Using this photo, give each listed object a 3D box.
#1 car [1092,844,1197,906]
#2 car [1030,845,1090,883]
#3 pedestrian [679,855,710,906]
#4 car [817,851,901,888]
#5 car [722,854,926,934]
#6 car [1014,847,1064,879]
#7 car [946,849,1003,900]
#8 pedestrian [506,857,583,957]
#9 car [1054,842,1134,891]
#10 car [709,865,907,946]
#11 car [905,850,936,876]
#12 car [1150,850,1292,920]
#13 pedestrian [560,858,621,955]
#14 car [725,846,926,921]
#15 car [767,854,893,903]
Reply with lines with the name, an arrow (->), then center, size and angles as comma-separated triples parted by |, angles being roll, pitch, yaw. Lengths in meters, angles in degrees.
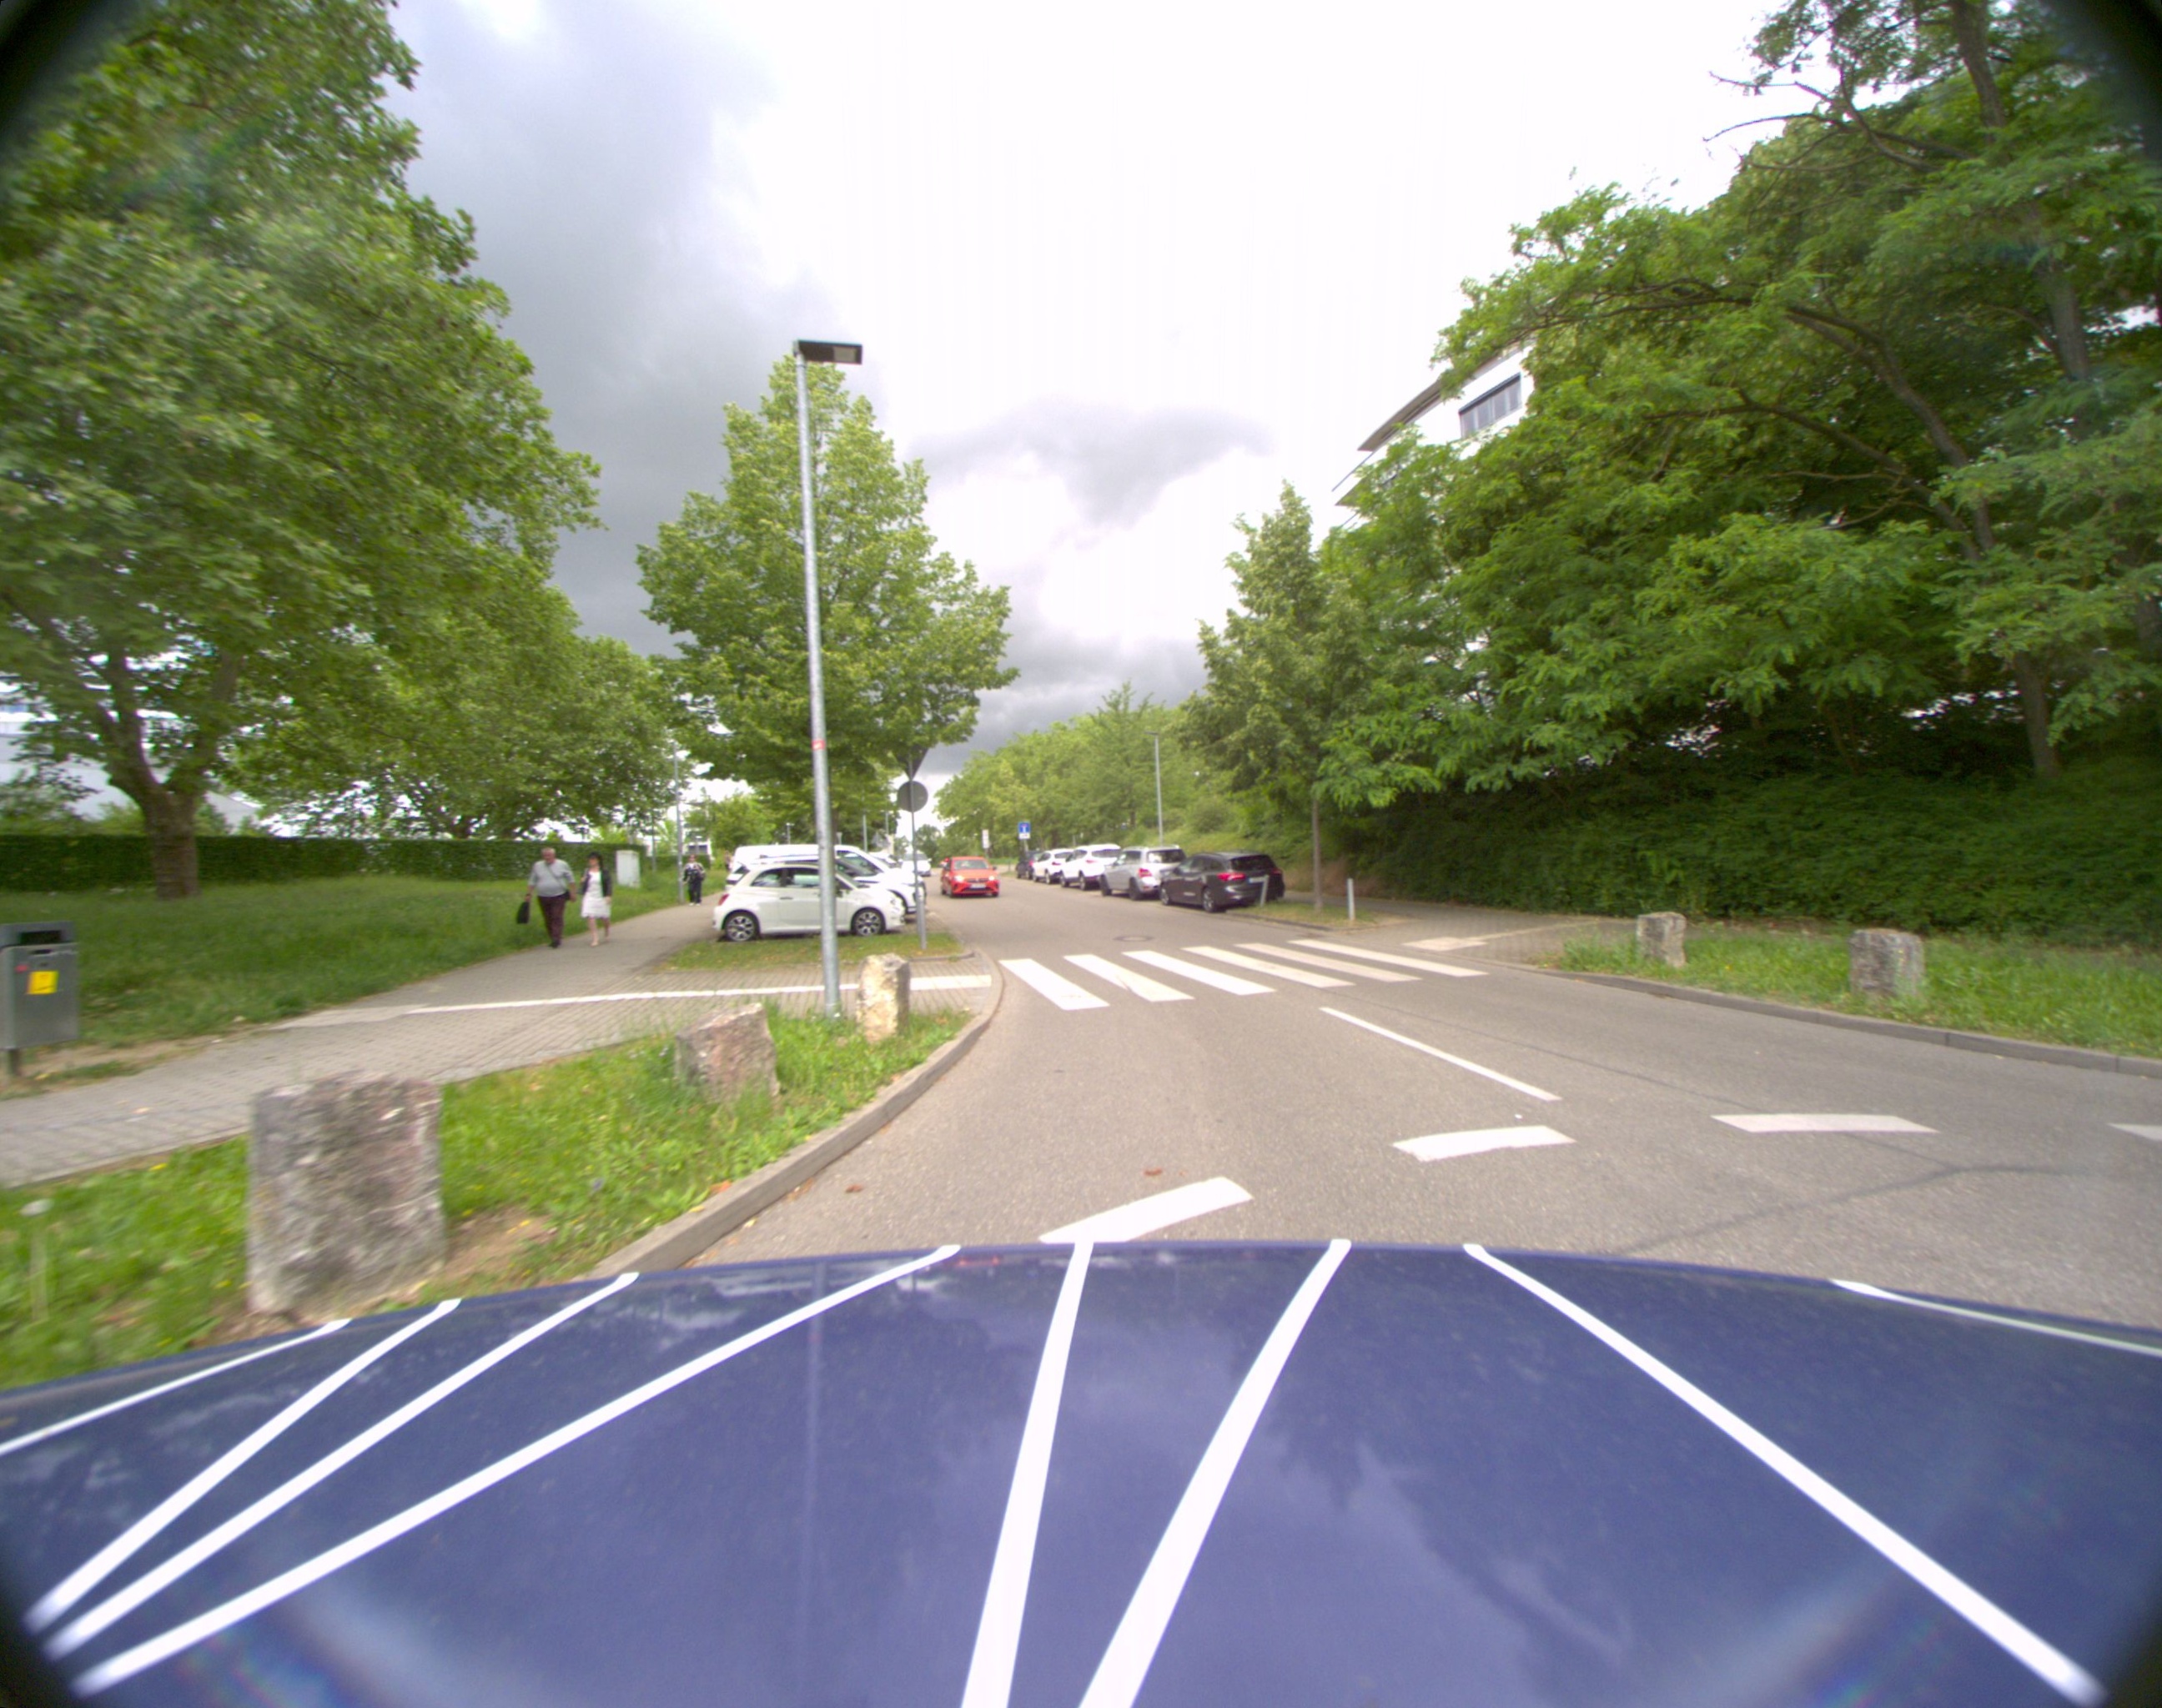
car -> 1.920, 0.584, 24.546 | 1.806, 1.607, 4.471 | -5, 3, -16
car -> -1.050, 0.447, 35.472 | 1.696, 1.503, 4.224 | -5, 1, -16
pedestrian -> -11.888, 0.810, 23.381 | 0.679, 1.511, 0.705 | -3, 1, -19
car -> -10.463, 0.718, 36.013 | 3.684, 1.637, 1.849 | -1, 1, -14
car -> -5.773, 0.847, 17.369 | 4.167, 1.593, 1.736 | -1, 1, -18
car -> -2.290, 0.437, 40.318 | 1.696, 1.479, 3.947 | -5, 1, -16
car -> -3.967, 0.691, 27.910 | 1.760, 1.507, 3.994 | -3, 3, -11
pedestrian -> -9.292, 0.892, 13.185 | 0.872, 1.647, 0.592 | -3, 1, -18
car -> 0.431, 0.459, 30.283 | 1.814, 1.655, 4.430 | -5, 1, -16
car -> -5.342, 0.956, 15.198 | 3.525, 1.453, 1.736 | 0, 0, -16
car -> -10.215, 0.525, 48.496 | 1.760, 1.507, 3.996 | -3, 1, -11
car -> 3.453, 0.708, 19.657 | 1.696, 1.457, 4.450 | -5, 2, -16
pedestrian -> -8.634, 0.903, 13.404 | 0.691, 1.647, 0.599 | -3, 1, -18
car -> -6.564, 0.698, 19.987 | 4.792, 1.821, 1.840 | 0, 1, -14
car -> -8.302, 0.778, 25.327 | 3.840, 1.511, 1.908 | 0, 1, -17
